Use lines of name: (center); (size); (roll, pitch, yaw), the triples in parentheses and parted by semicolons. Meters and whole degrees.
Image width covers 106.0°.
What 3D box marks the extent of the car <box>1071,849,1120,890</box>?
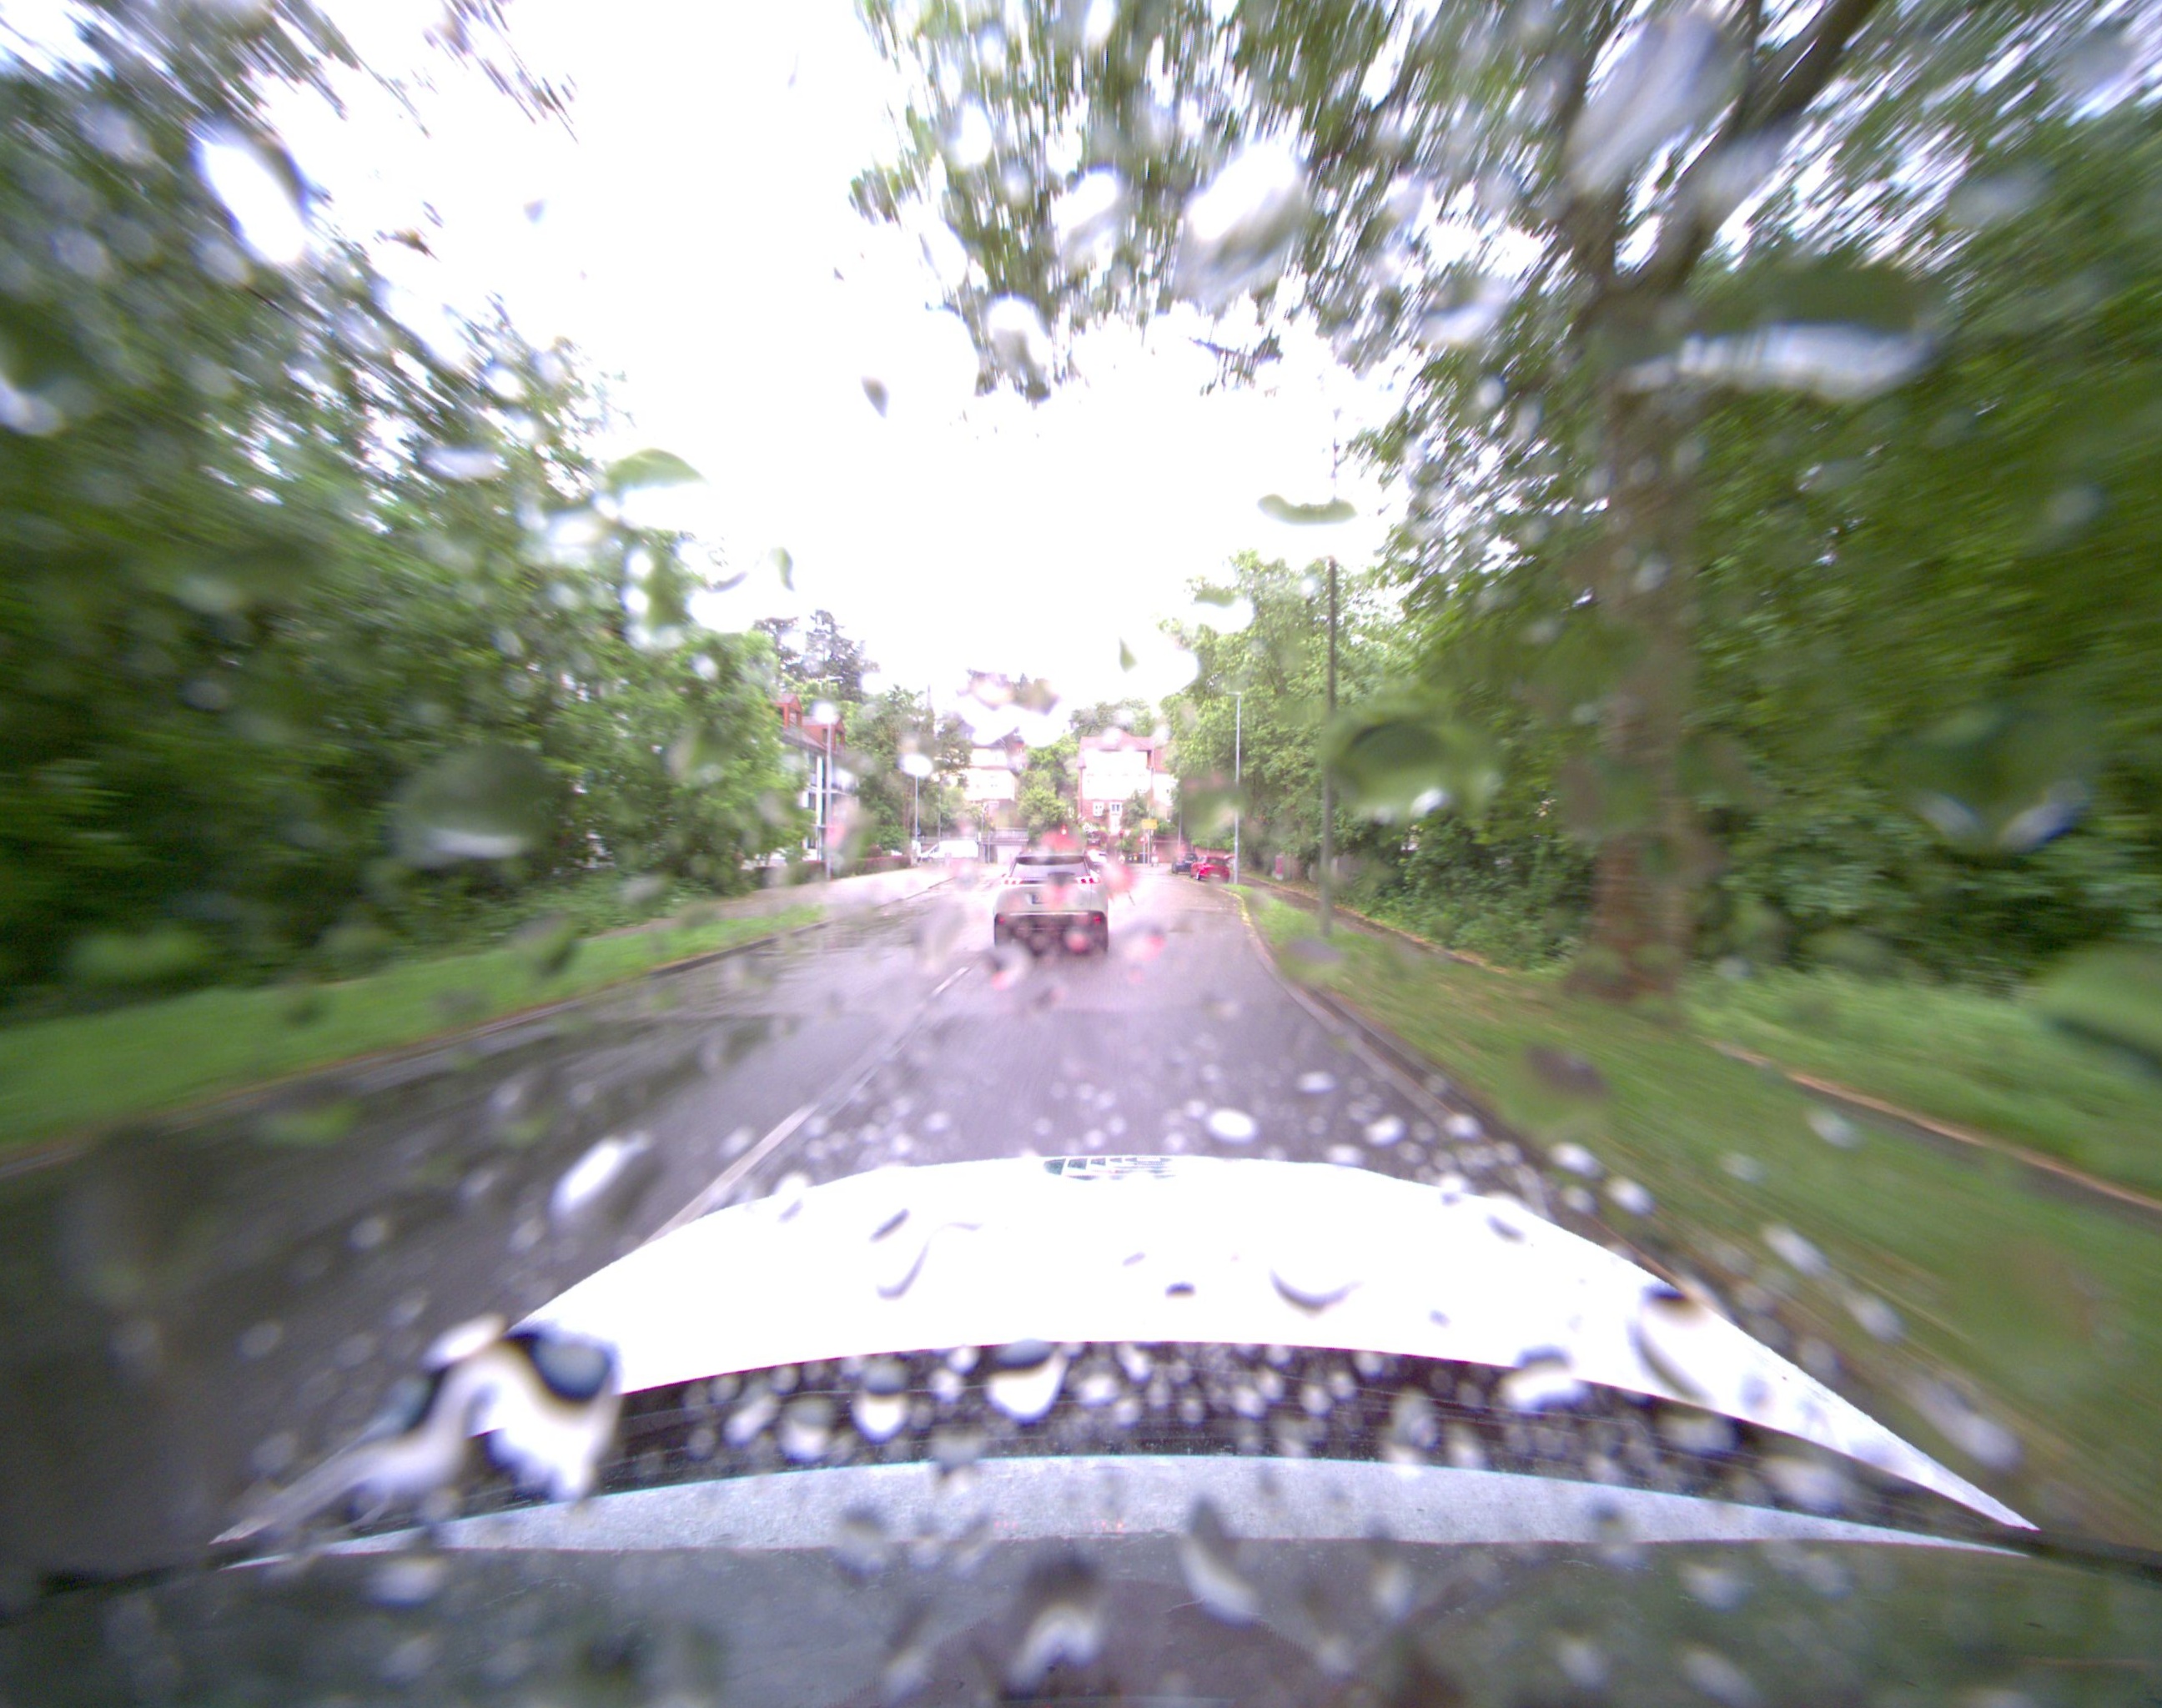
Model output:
car: (0.628, 0.607, 34.333); (1.825, 1.456, 4.660); (3, 1, 1)

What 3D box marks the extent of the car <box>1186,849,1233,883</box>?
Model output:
car: (7.147, 0.650, 45.718); (1.815, 1.517, 3.742); (8, 2, -2)

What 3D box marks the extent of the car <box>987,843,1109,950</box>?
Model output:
car: (-0.431, 0.603, 13.985); (1.746, 1.536, 4.368); (0, 0, 1)

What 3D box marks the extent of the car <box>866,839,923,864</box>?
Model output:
car: (-20.216, -0.259, 88.487); (5.541, 2.494, 2.317); (1, -1, 2)

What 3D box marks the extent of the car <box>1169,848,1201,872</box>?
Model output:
car: (7.024, 0.392, 55.361); (1.743, 1.491, 3.600); (3, 0, 1)

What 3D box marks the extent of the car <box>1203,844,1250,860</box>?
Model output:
car: (14.854, -0.179, 83.282); (4.550, 1.601, 1.776); (-1, -1, 2)

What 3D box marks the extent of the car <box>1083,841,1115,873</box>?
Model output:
car: (1.012, 0.135, 48.288); (1.755, 1.711, 4.600); (2, 1, 0)

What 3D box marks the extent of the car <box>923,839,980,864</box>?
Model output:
car: (-14.022, -0.279, 88.165); (5.638, 2.494, 2.317); (1, -1, 2)
